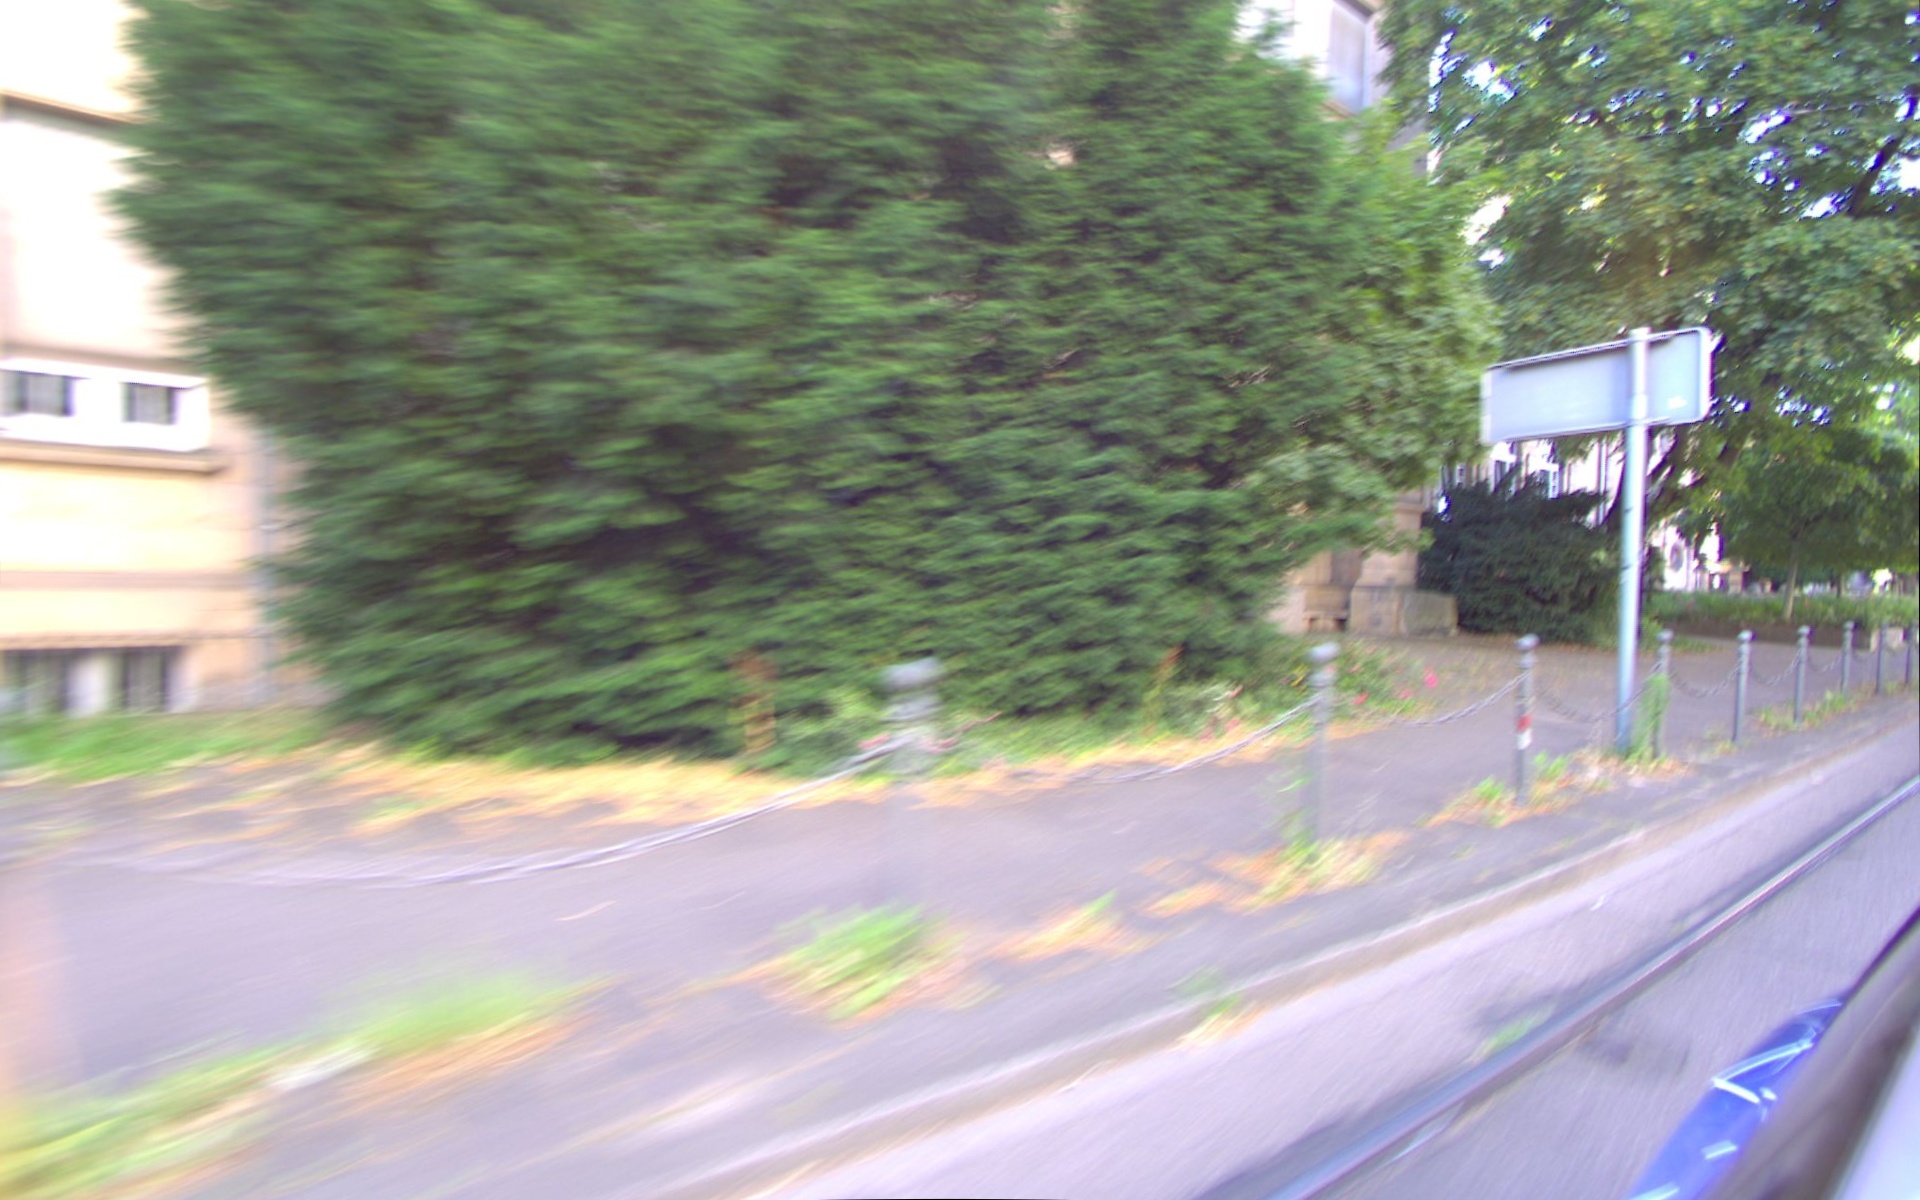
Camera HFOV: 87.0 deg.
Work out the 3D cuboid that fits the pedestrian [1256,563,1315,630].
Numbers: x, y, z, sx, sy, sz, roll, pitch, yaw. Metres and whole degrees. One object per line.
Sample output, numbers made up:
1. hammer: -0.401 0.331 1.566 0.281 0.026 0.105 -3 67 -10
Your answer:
1. pedestrian: 6.776 -0.075 21.061 0.654 1.372 0.983 0 0 -38
